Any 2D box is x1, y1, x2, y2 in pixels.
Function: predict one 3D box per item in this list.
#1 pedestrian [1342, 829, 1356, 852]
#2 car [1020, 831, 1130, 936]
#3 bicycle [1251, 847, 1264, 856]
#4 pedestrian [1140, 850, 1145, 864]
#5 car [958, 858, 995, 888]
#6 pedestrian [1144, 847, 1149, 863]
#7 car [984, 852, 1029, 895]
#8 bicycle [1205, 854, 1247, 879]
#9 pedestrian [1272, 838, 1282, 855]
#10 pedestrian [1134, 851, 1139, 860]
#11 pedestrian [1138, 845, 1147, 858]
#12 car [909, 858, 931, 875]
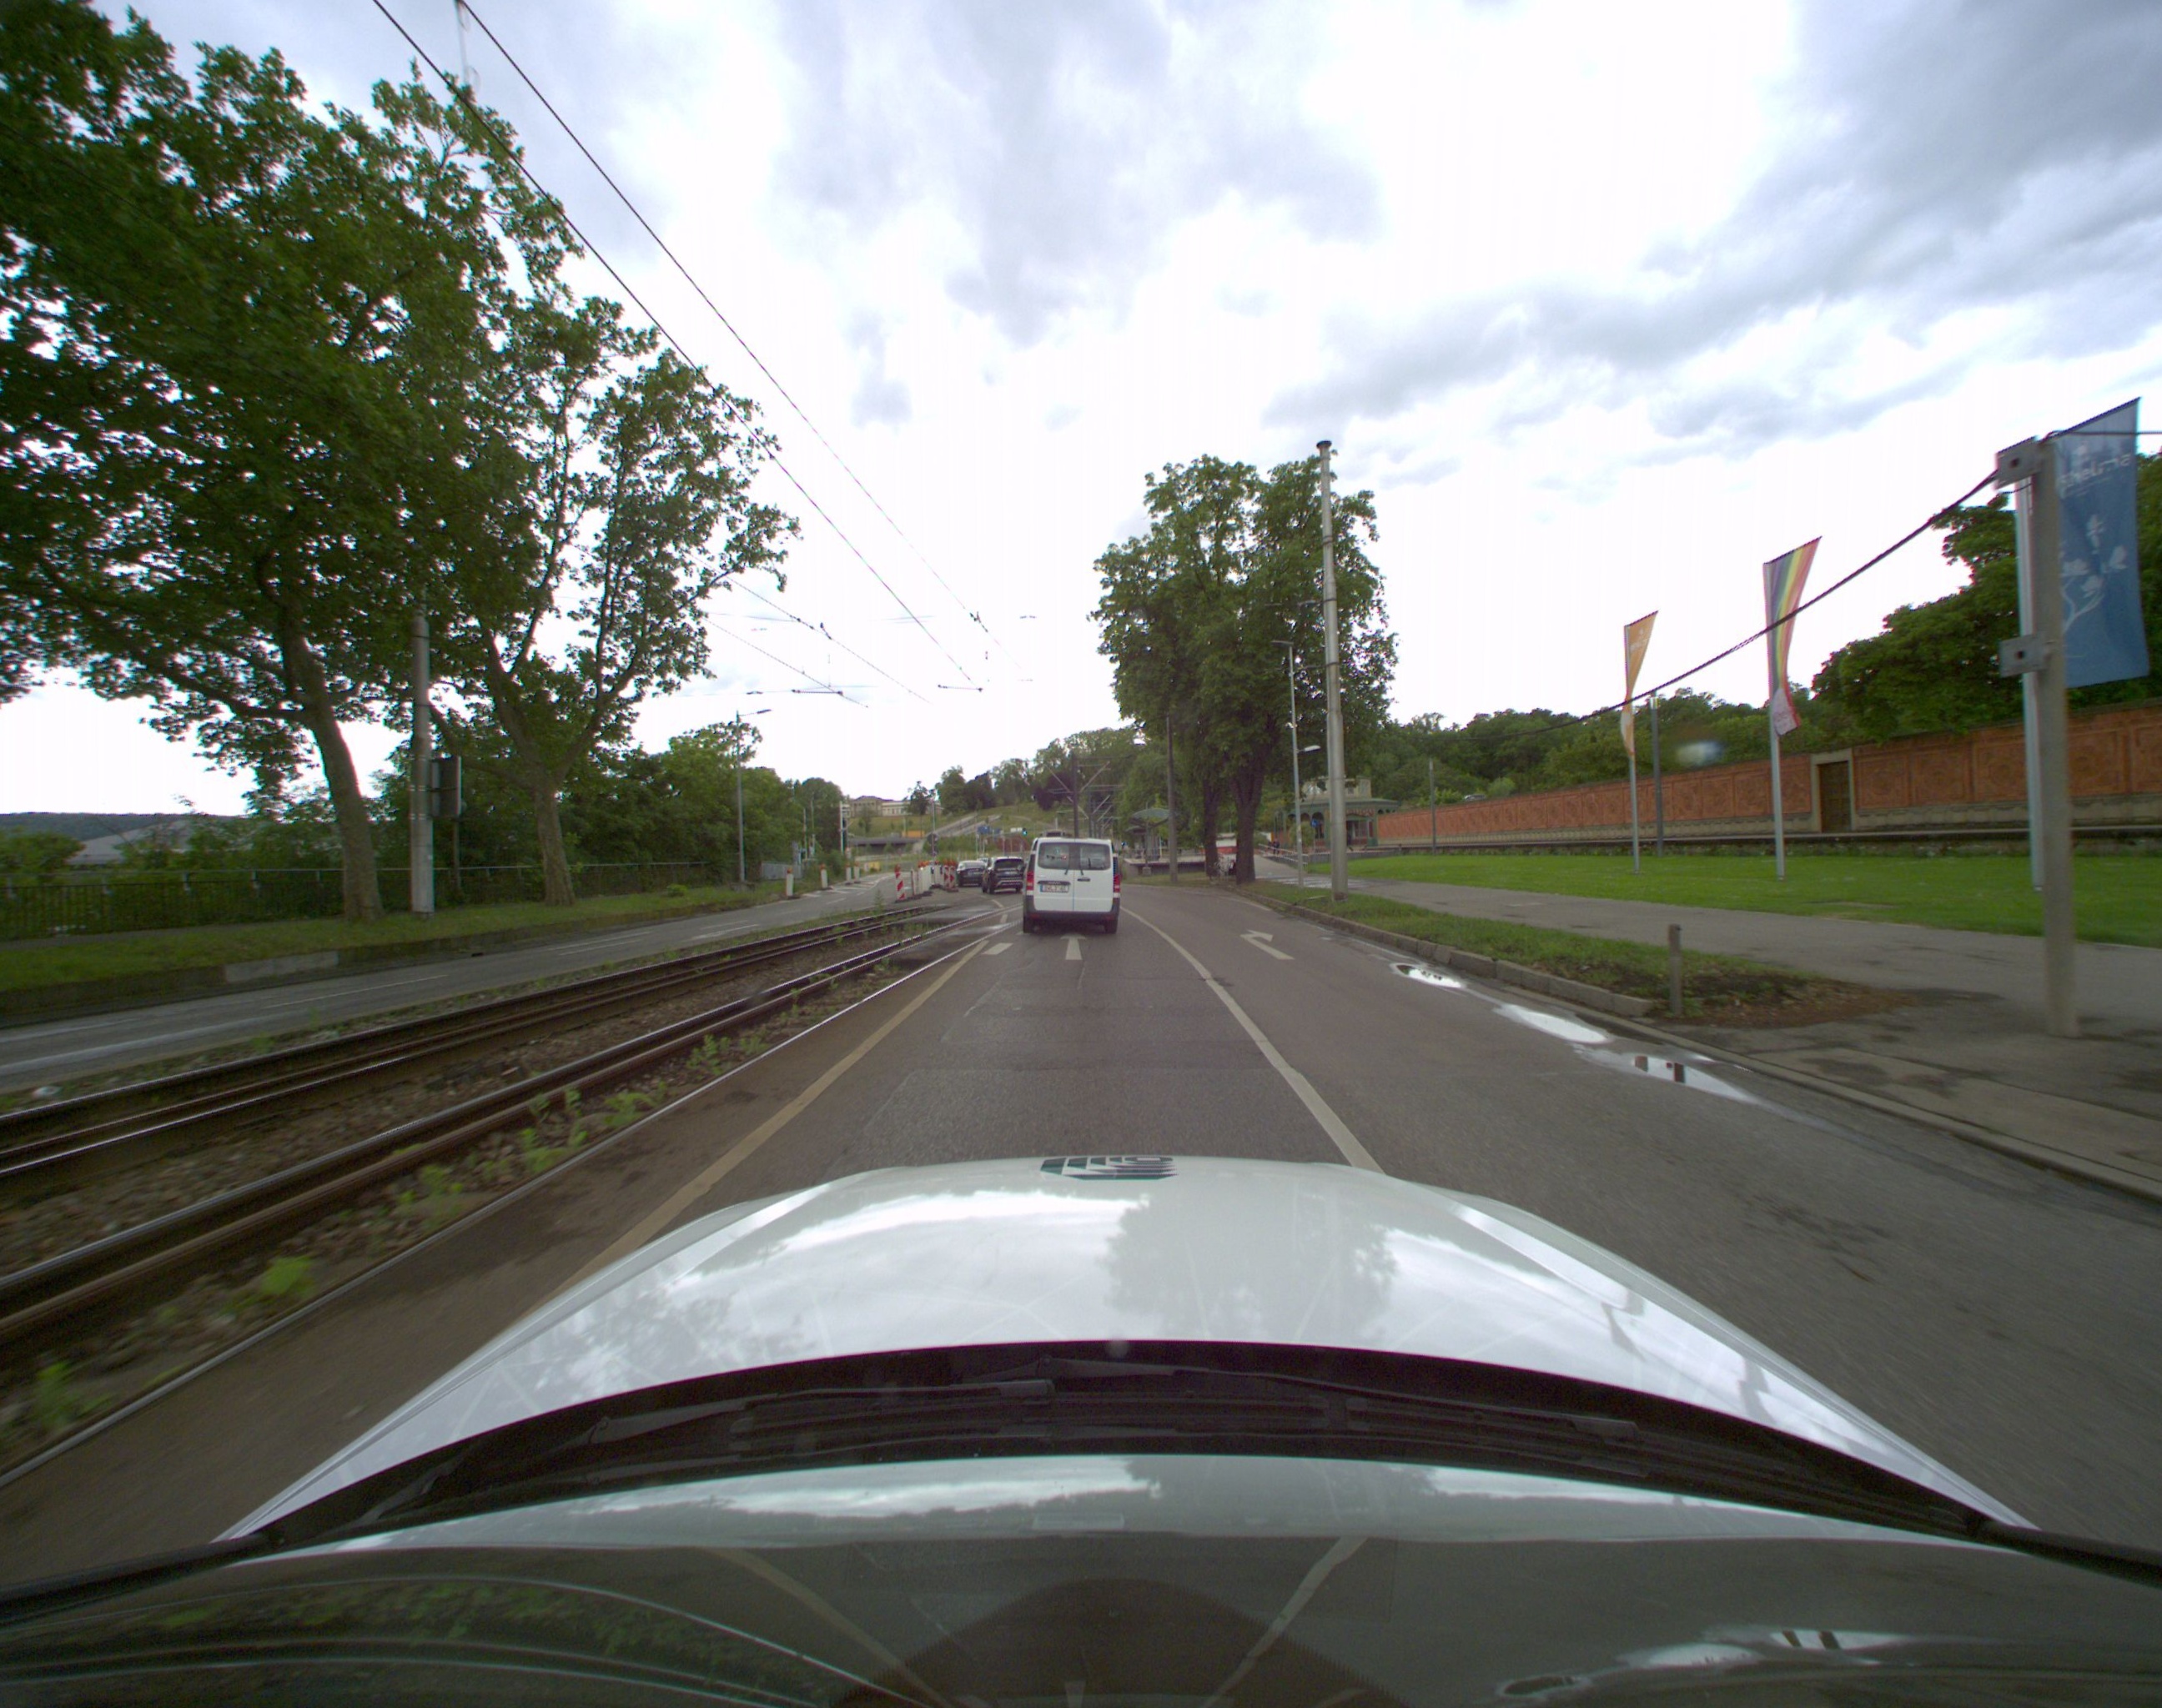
[{"bbox_3d":[21.439,-1.076,65.124,0.940,1.838,0.553,-1,-1,31],"label":"pedestrian"},{"bbox_3d":[-0.274,0.561,17.225,1.956,1.904,4.453,-1,-1,-5],"label":"car"},{"bbox_3d":[21.218,-0.339,97.742,0.565,1.061,1.700,0,-1,-28],"label":"bicycle"},{"bbox_3d":[7.371,0.364,97.775,0.522,1.620,0.676,0,-1,4],"label":"pedestrian"},{"bbox_3d":[-5.873,1.053,45.430,1.839,1.582,4.047,-1,-1,-11],"label":"car"},{"bbox_3d":[7.618,0.143,95.039,0.630,1.838,0.951,0,-1,4],"label":"pedestrian"},{"bbox_3d":[-3.243,0.819,35.255,1.836,1.729,4.054,-1,-1,-6],"label":"car"},{"bbox_3d":[7.099,0.601,39.972,1.981,1.158,0.742,-3,-1,6],"label":"bicycle"},{"bbox_3d":[14.211,-0.548,59.040,0.547,1.201,0.668,0,-1,-4],"label":"pedestrian"},{"bbox_3d":[6.786,0.177,99.128,0.654,1.191,0.676,0,-1,4],"label":"pedestrian"},{"bbox_3d":[7.487,-0.306,99.008,0.859,1.677,0.759,0,-1,-8],"label":"pedestrian"},{"bbox_3d":[-15.991,1.221,81.065,1.692,1.461,3.906,-3,1,-5],"label":"car"}]
